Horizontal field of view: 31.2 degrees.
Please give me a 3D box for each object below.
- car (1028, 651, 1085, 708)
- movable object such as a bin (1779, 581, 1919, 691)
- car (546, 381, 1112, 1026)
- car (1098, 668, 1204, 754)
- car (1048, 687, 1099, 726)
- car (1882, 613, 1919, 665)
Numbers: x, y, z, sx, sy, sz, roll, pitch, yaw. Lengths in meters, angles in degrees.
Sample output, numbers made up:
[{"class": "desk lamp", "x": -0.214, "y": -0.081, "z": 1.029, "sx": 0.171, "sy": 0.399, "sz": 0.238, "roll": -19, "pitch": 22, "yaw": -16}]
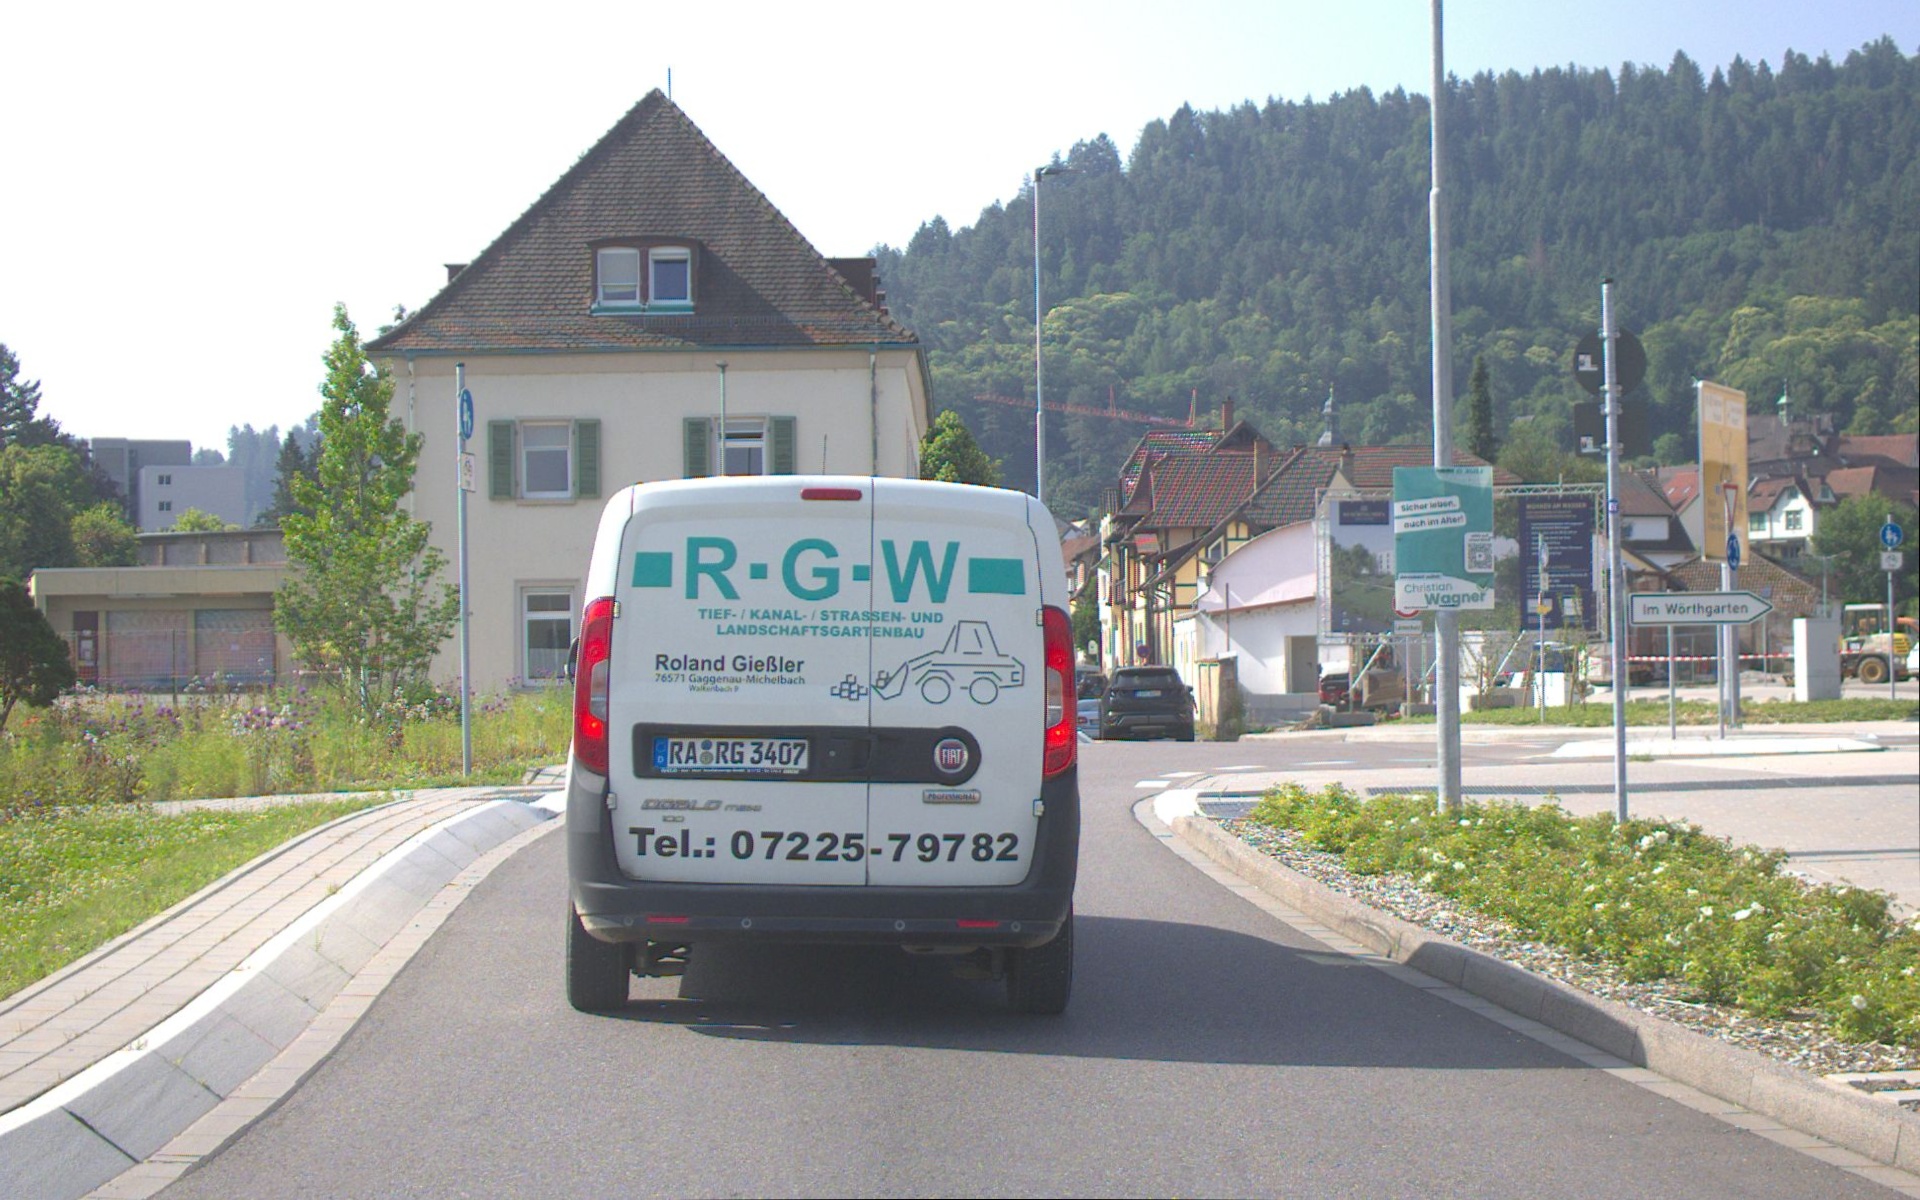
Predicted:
[{"class": "car", "x": 3.563, "y": 2.935, "z": 126.571, "sx": 1.993, "sy": 2.007, "sz": 3.999, "roll": -2, "pitch": -1, "yaw": 2}, {"class": "movable object such as a bin", "x": 15.611, "y": 0.640, "z": 59.938, "sx": 2.444, "sy": 1.838, "sz": 1.428, "roll": -2, "pitch": -2, "yaw": 10}, {"class": "car", "x": -0.566, "y": 0.332, "z": 13.496, "sx": 1.806, "sy": 2.071, "sz": 4.605, "roll": 1, "pitch": 0, "yaw": -4}, {"class": "car", "x": 3.949, "y": 2.269, "z": 70.692, "sx": 1.881, "sy": 1.678, "sz": 3.999, "roll": -2, "pitch": -1, "yaw": 7}, {"class": "car", "x": 3.013, "y": 2.836, "z": 91.749, "sx": 1.306, "sy": 1.000, "sz": 3.090, "roll": -2, "pitch": -1, "yaw": 2}, {"class": "car", "x": 25.153, "y": 0.958, "z": 86.612, "sx": 3.475, "sy": 1.299, "sz": 1.468, "roll": -1, "pitch": -1, "yaw": 3}]
